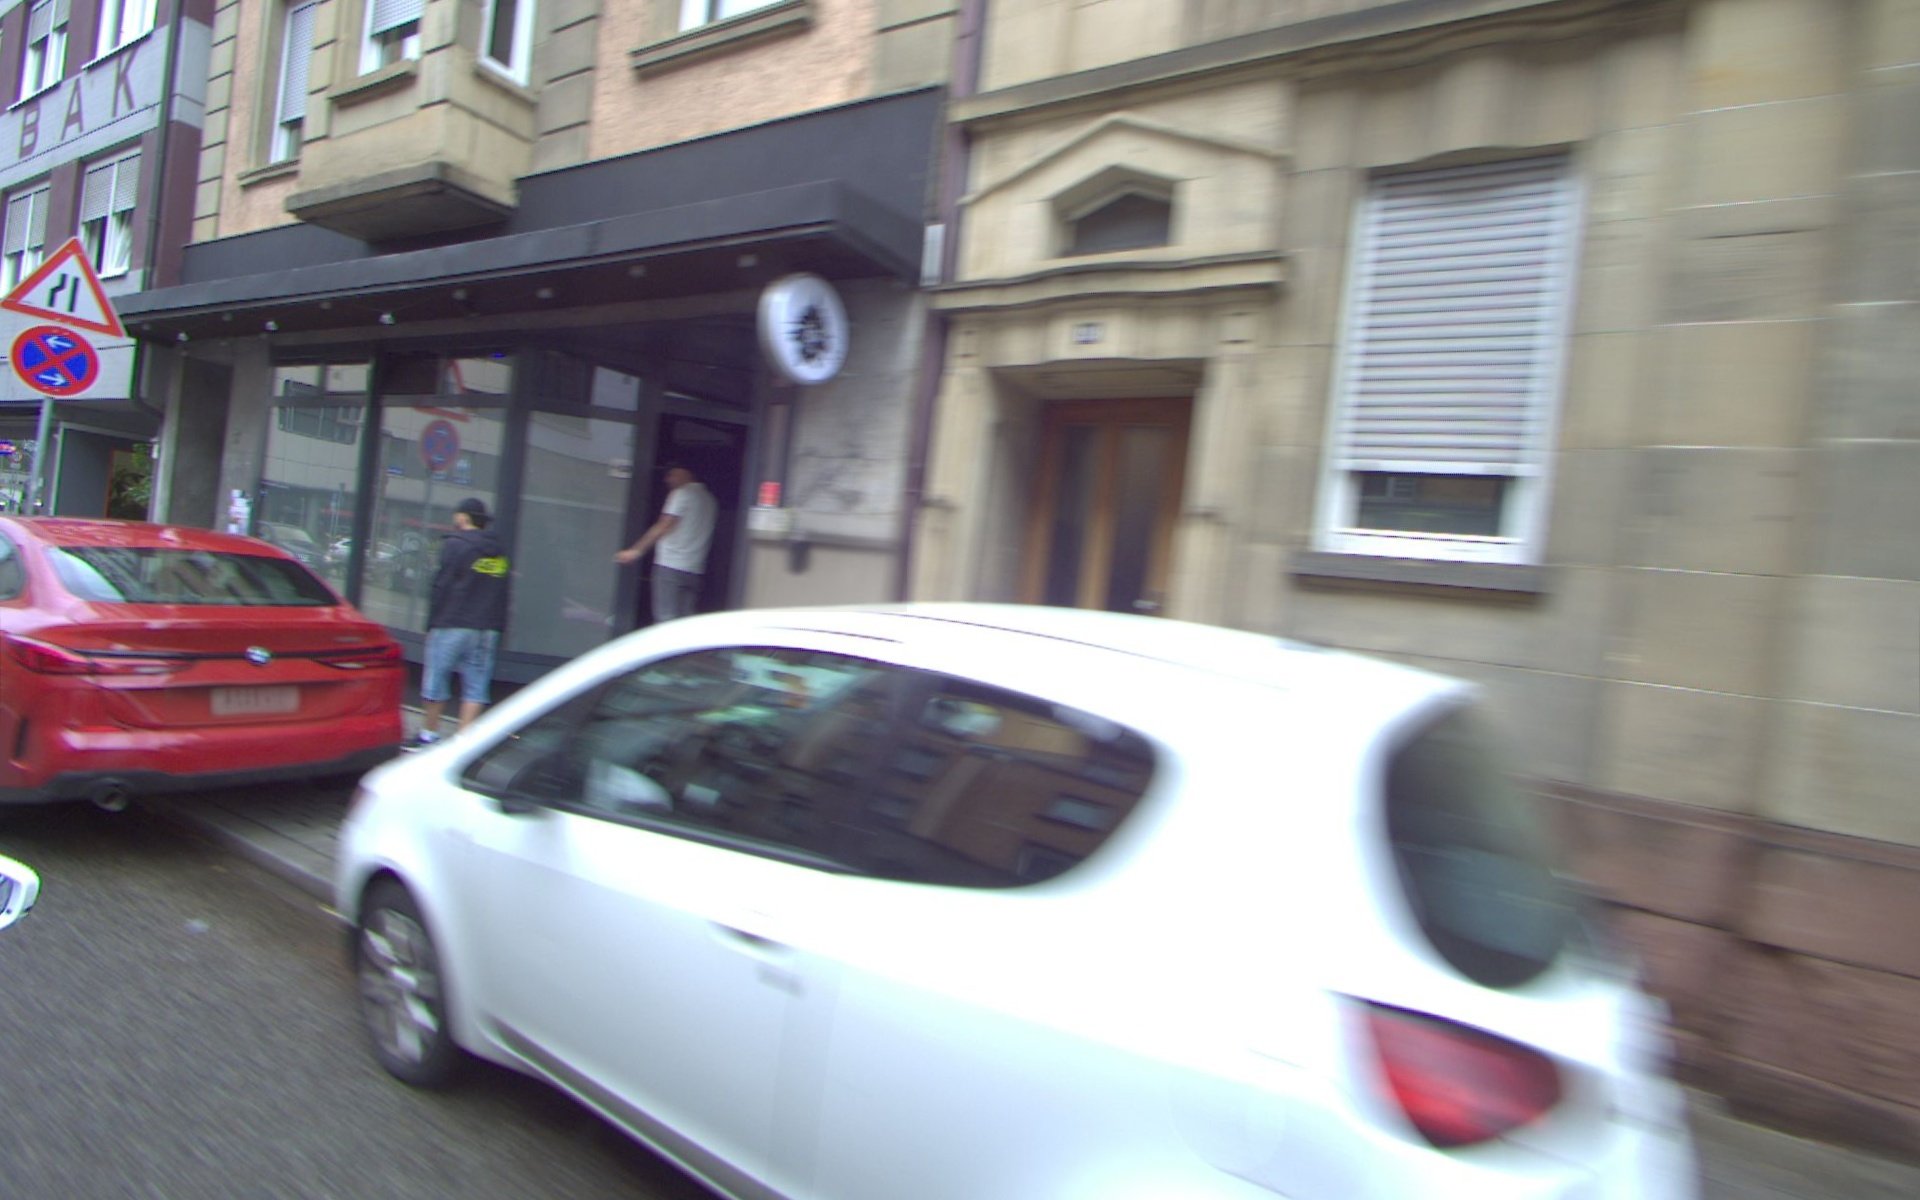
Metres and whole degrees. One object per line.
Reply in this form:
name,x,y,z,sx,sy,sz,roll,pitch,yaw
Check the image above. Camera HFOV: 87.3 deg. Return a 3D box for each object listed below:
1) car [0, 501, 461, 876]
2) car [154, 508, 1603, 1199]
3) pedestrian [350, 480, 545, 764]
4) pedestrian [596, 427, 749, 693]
car,-4.949,0.219,5.724,4.244,1.386,1.746,7,0,32
car,-0.690,0.656,3.145,4.379,1.512,1.648,6,0,35
pedestrian,-3.528,0.145,6.948,0.782,1.801,0.745,6,0,30
pedestrian,-2.187,-0.287,7.690,0.638,1.917,0.704,6,0,30
